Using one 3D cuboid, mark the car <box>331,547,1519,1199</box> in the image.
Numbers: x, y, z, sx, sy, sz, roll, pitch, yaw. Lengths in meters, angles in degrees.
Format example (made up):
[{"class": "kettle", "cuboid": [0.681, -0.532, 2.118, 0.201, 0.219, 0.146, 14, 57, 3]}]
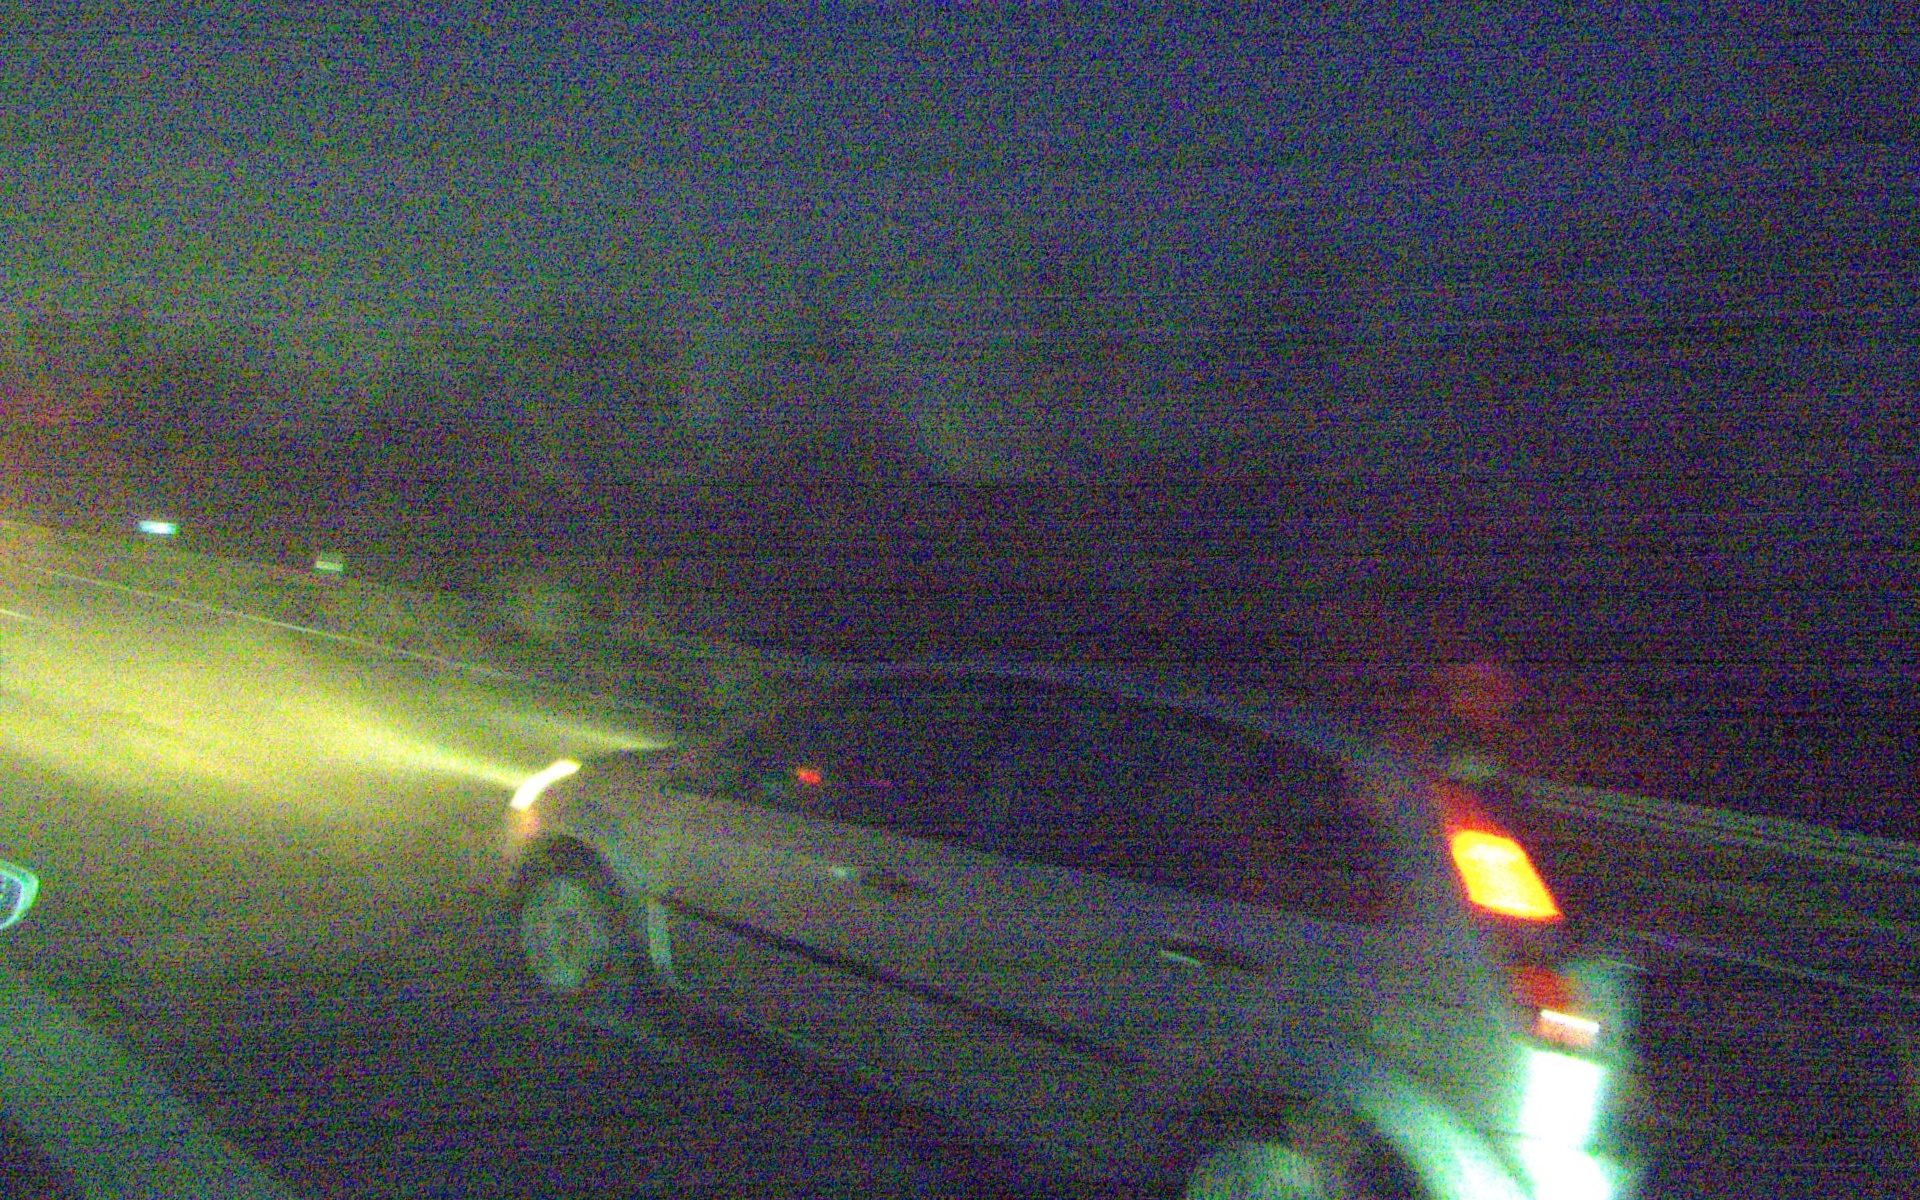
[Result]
[{"class": "car", "cuboid": [-0.340, 0.798, 3.837, 4.126, 1.474, 1.772, 7, -1, 32]}]
